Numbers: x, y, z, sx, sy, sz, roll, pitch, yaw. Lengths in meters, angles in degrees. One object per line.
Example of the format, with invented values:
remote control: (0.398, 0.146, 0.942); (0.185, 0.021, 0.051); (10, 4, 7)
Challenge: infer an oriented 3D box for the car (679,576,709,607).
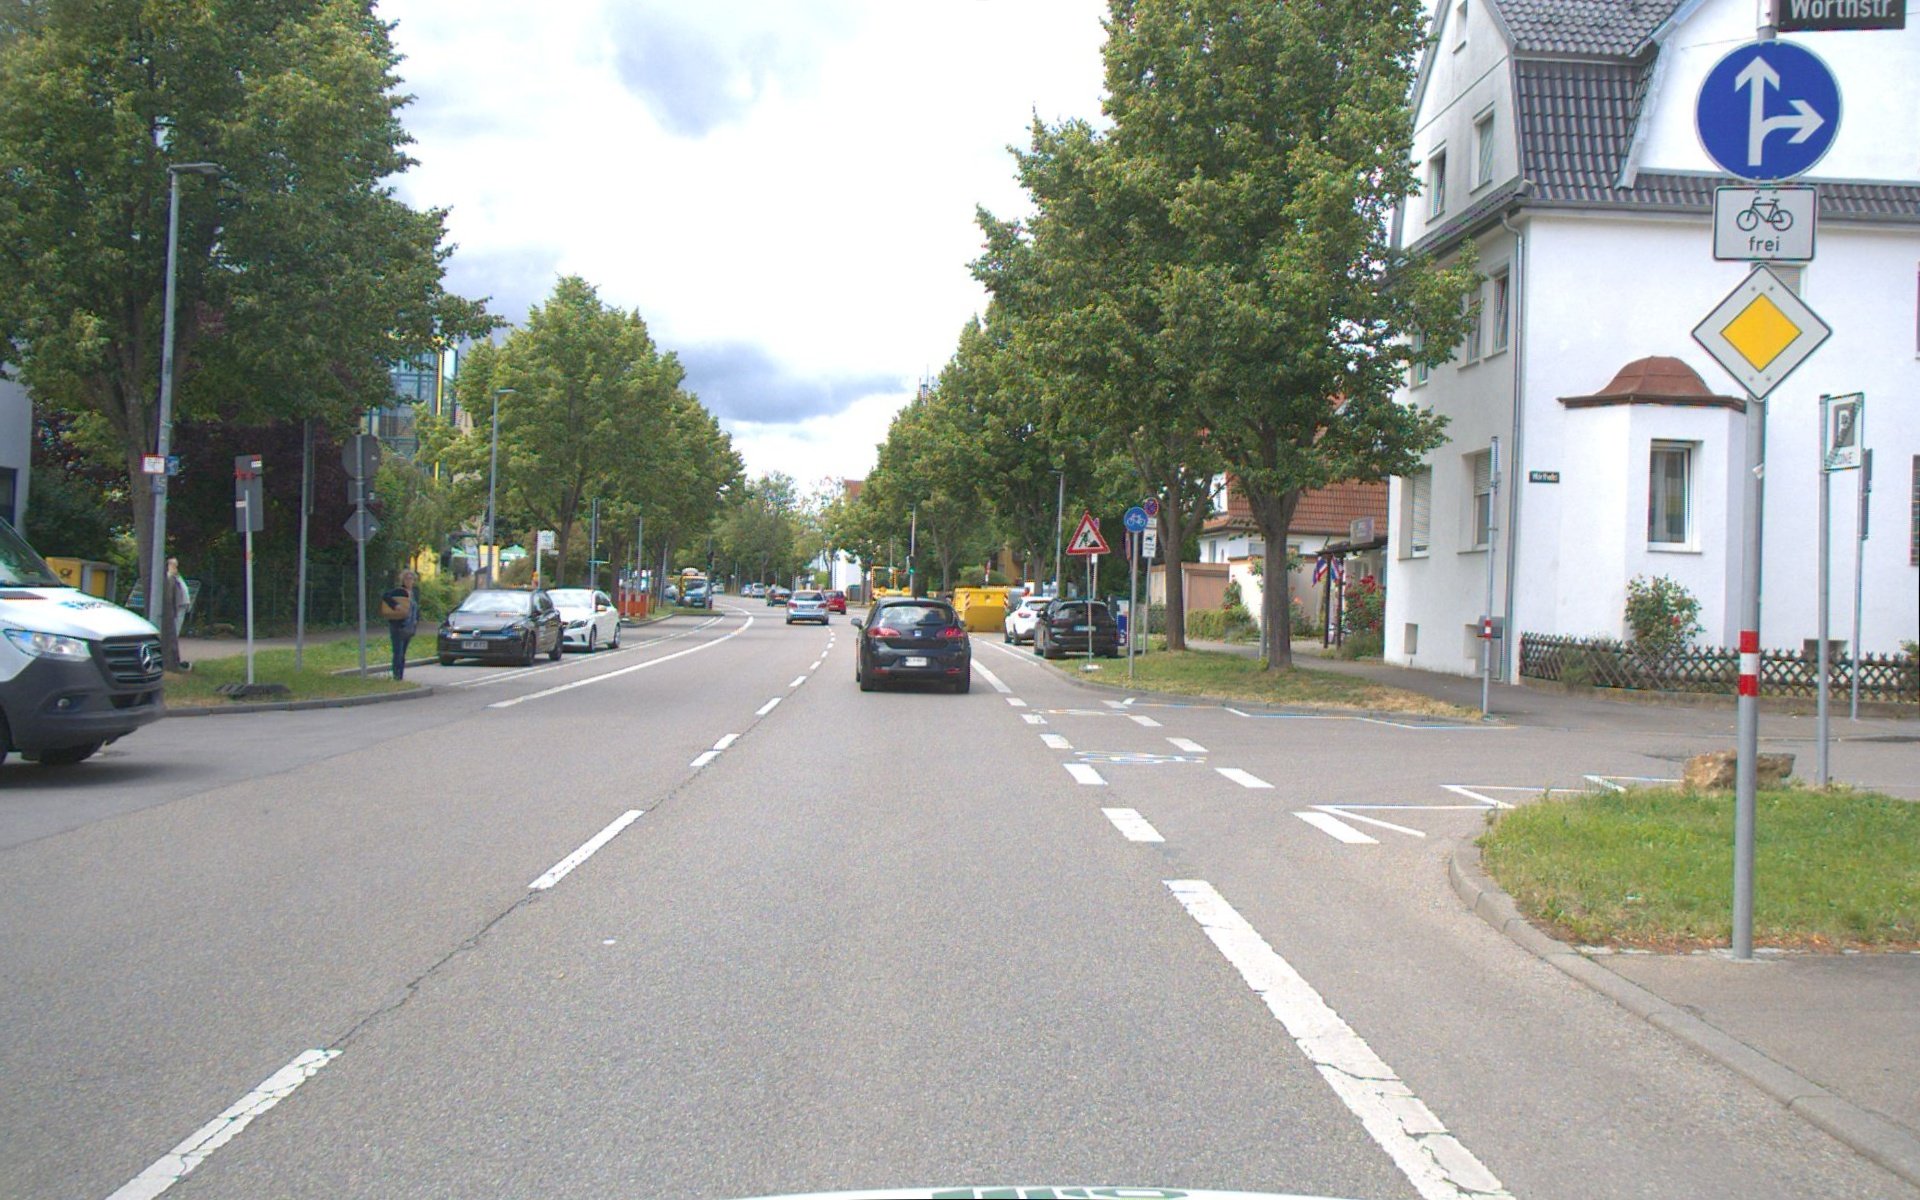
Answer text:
car: (-19.443, -0.633, 120.631); (2.054, 2.213, 5.033); (1, 0, -10)

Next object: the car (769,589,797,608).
car: (-13.987, -0.109, 130.626); (1.778, 1.399, 3.681); (1, 0, -12)

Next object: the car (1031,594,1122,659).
car: (2.787, 0.605, 40.562); (1.671, 1.480, 4.614); (1, 0, -3)

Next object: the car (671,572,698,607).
car: (-21.782, -0.867, 130.789); (2.054, 2.672, 5.033); (1, 0, -10)

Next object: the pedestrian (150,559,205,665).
pedestrian: (-11.956, 0.184, 25.296); (0.421, 1.579, 0.806); (2, 0, -2)

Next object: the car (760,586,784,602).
car: (-17.422, -0.552, 153.177); (1.779, 1.440, 3.681); (1, 0, -13)

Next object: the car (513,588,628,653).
car: (-9.092, 0.443, 38.967); (1.679, 1.431, 4.300); (1, 0, 0)

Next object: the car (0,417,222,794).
car: (-9.694, -0.040, 12.439); (7.147, 2.639, 2.218); (1, 0, -6)

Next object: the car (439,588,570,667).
car: (-8.818, 0.496, 32.331); (1.610, 1.445, 4.018); (1, 0, -3)

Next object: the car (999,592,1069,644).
car: (2.233, 0.525, 50.556); (1.639, 1.488, 3.996); (1, 0, -4)

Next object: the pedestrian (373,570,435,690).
pedestrian: (-8.170, 0.421, 24.314); (0.531, 1.710, 0.751); (3, 1, 6)

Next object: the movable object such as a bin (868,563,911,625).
movable object such as a bin: (-3.108, -0.261, 72.373); (1.733, 2.619, 3.737); (1, 0, -4)

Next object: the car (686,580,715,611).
car: (-15.530, -0.302, 98.859); (1.636, 1.803, 4.458); (0, 0, -9)

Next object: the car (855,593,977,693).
car: (-0.768, 0.634, 26.528); (1.783, 1.463, 3.737); (1, 0, -4)

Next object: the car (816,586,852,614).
car: (-7.720, -0.039, 101.180); (1.758, 1.651, 3.730); (1, 0, -11)

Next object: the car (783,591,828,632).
car: (-6.754, 0.478, 72.034); (1.869, 1.715, 3.734); (1, 0, -7)

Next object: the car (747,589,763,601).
car: (-24.043, -0.584, 194.267); (1.776, 1.440, 3.687); (1, 0, -7)

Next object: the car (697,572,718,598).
car: (-28.017, -1.663, 183.282); (2.246, 2.840, 7.128); (0, 0, -9)
